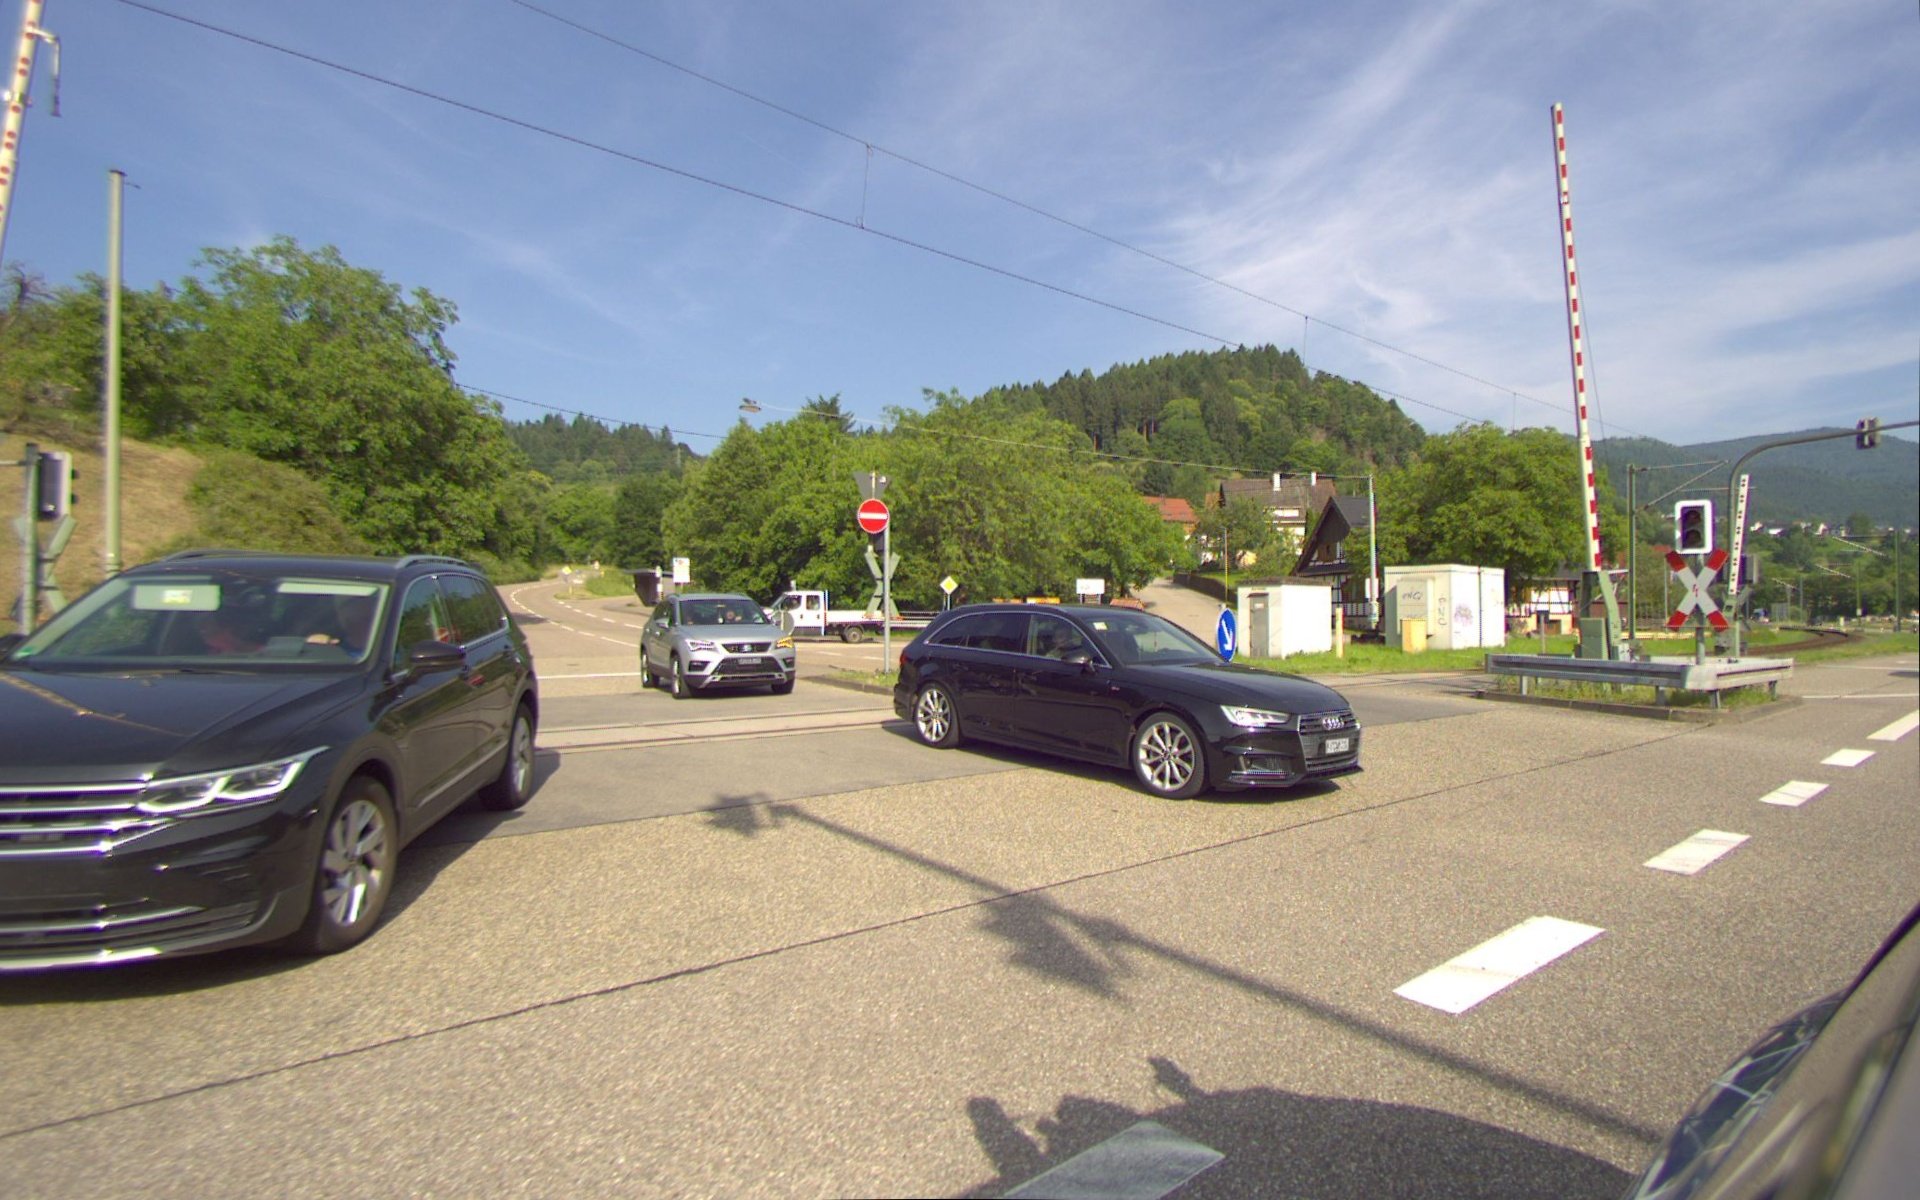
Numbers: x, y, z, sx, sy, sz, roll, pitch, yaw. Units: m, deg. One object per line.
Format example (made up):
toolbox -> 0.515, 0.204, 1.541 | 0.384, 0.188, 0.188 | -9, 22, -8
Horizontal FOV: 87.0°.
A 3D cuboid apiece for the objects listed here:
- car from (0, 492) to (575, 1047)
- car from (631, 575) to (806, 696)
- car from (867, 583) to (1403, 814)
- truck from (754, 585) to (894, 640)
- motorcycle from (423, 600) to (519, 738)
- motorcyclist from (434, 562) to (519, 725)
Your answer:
car -> -3.521, 0.498, 5.374 | 1.890, 1.680, 4.750 | 1, 0, -10
car -> -4.055, 0.552, 16.477 | 1.797, 1.708, 4.130 | 1, -2, -28
car -> 1.227, 0.619, 9.078 | 1.808, 1.488, 4.738 | 1, 1, -38
truck -> -5.950, 0.511, 43.910 | 5.813, 2.260, 2.413 | 0, 1, -13
motorcycle -> -5.016, 0.664, 10.499 | 0.782, 1.270, 2.103 | 1, -2, -23
motorcyclist -> -5.051, 0.441, 10.615 | 0.749, 1.617, 0.911 | 1, -2, -24
